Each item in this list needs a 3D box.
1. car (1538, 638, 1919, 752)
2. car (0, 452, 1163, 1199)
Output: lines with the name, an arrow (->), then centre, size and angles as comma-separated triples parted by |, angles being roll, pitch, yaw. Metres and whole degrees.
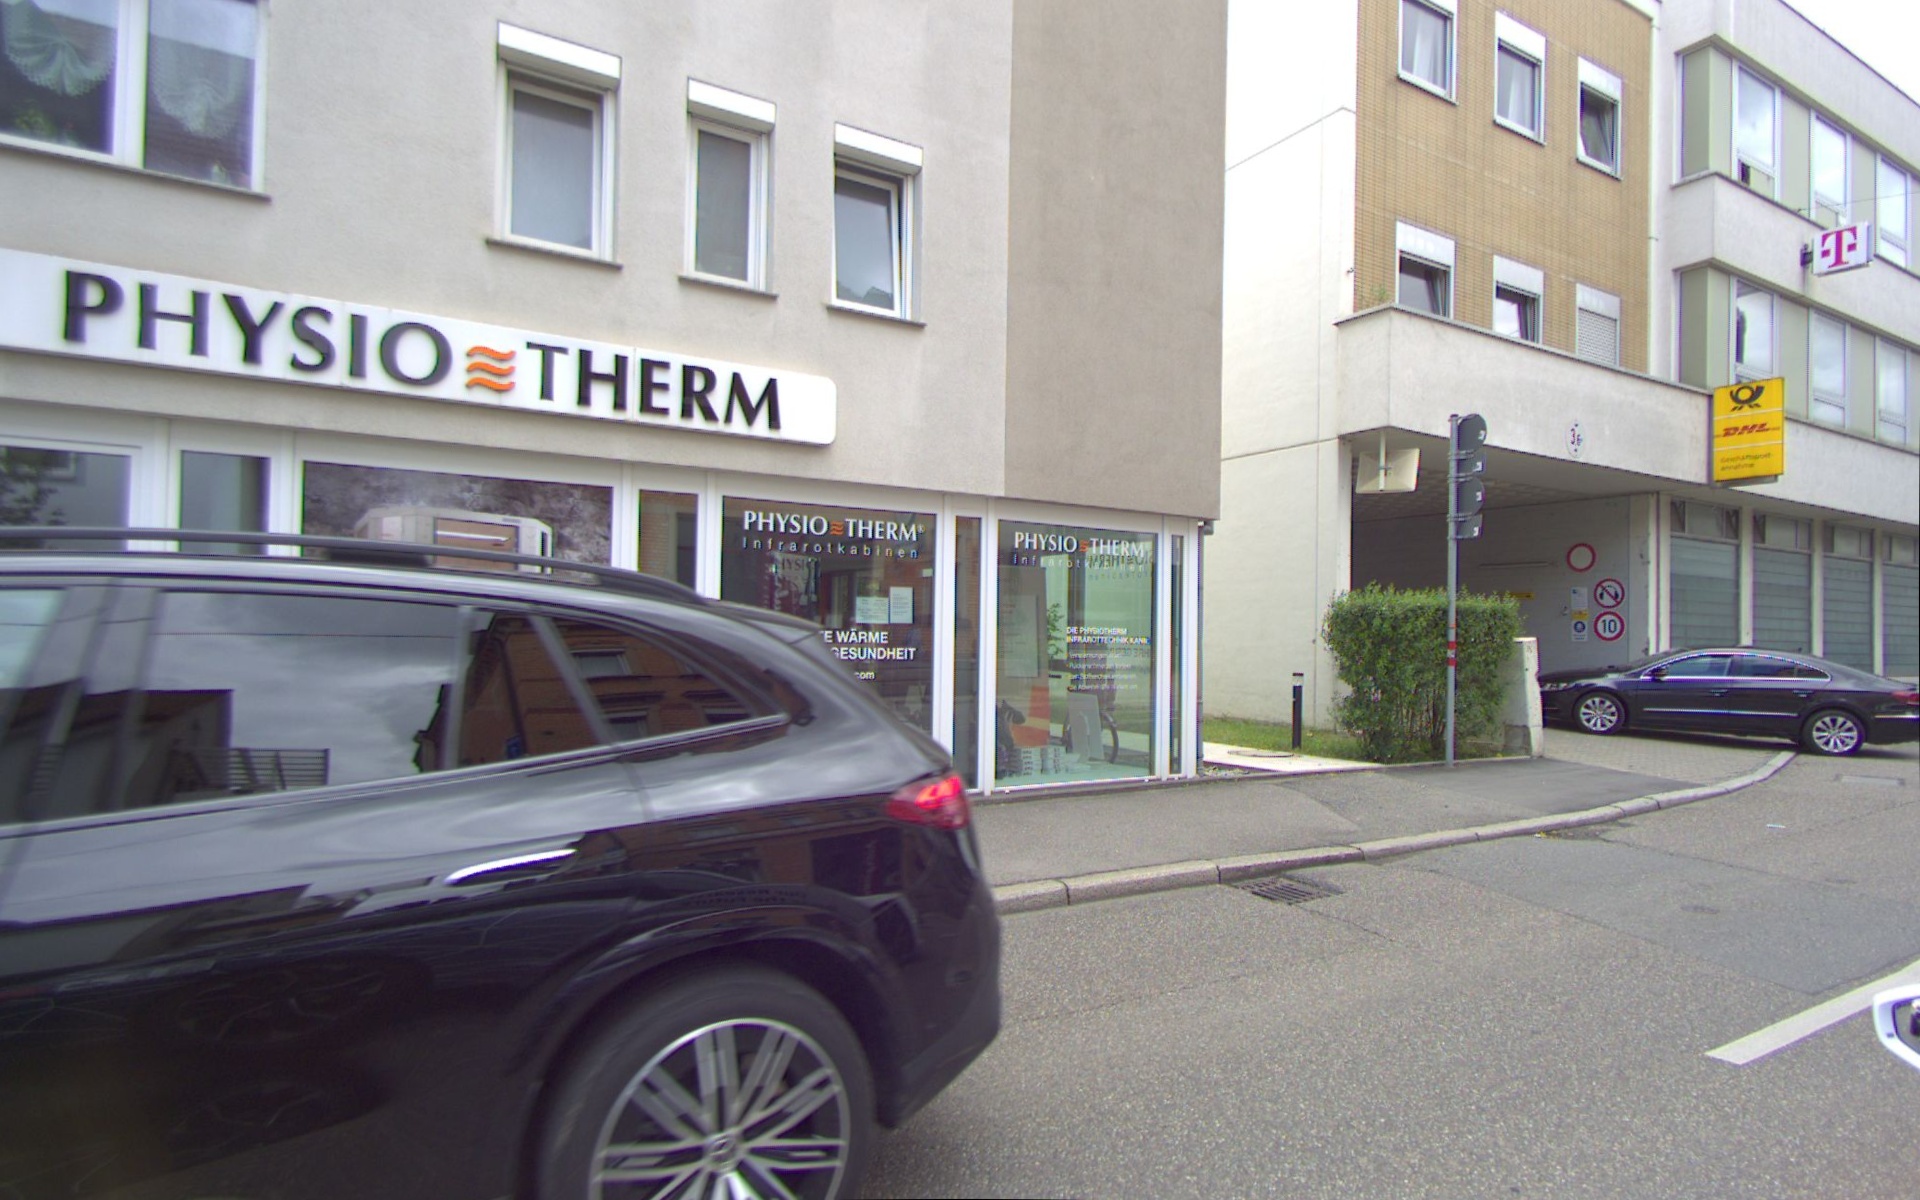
car -> 11.074, 1.300, 14.879 | 4.335, 1.384, 1.782 | 0, -1, 31
car -> -1.861, 0.695, 2.527 | 4.501, 1.761, 1.984 | 2, -3, -31
